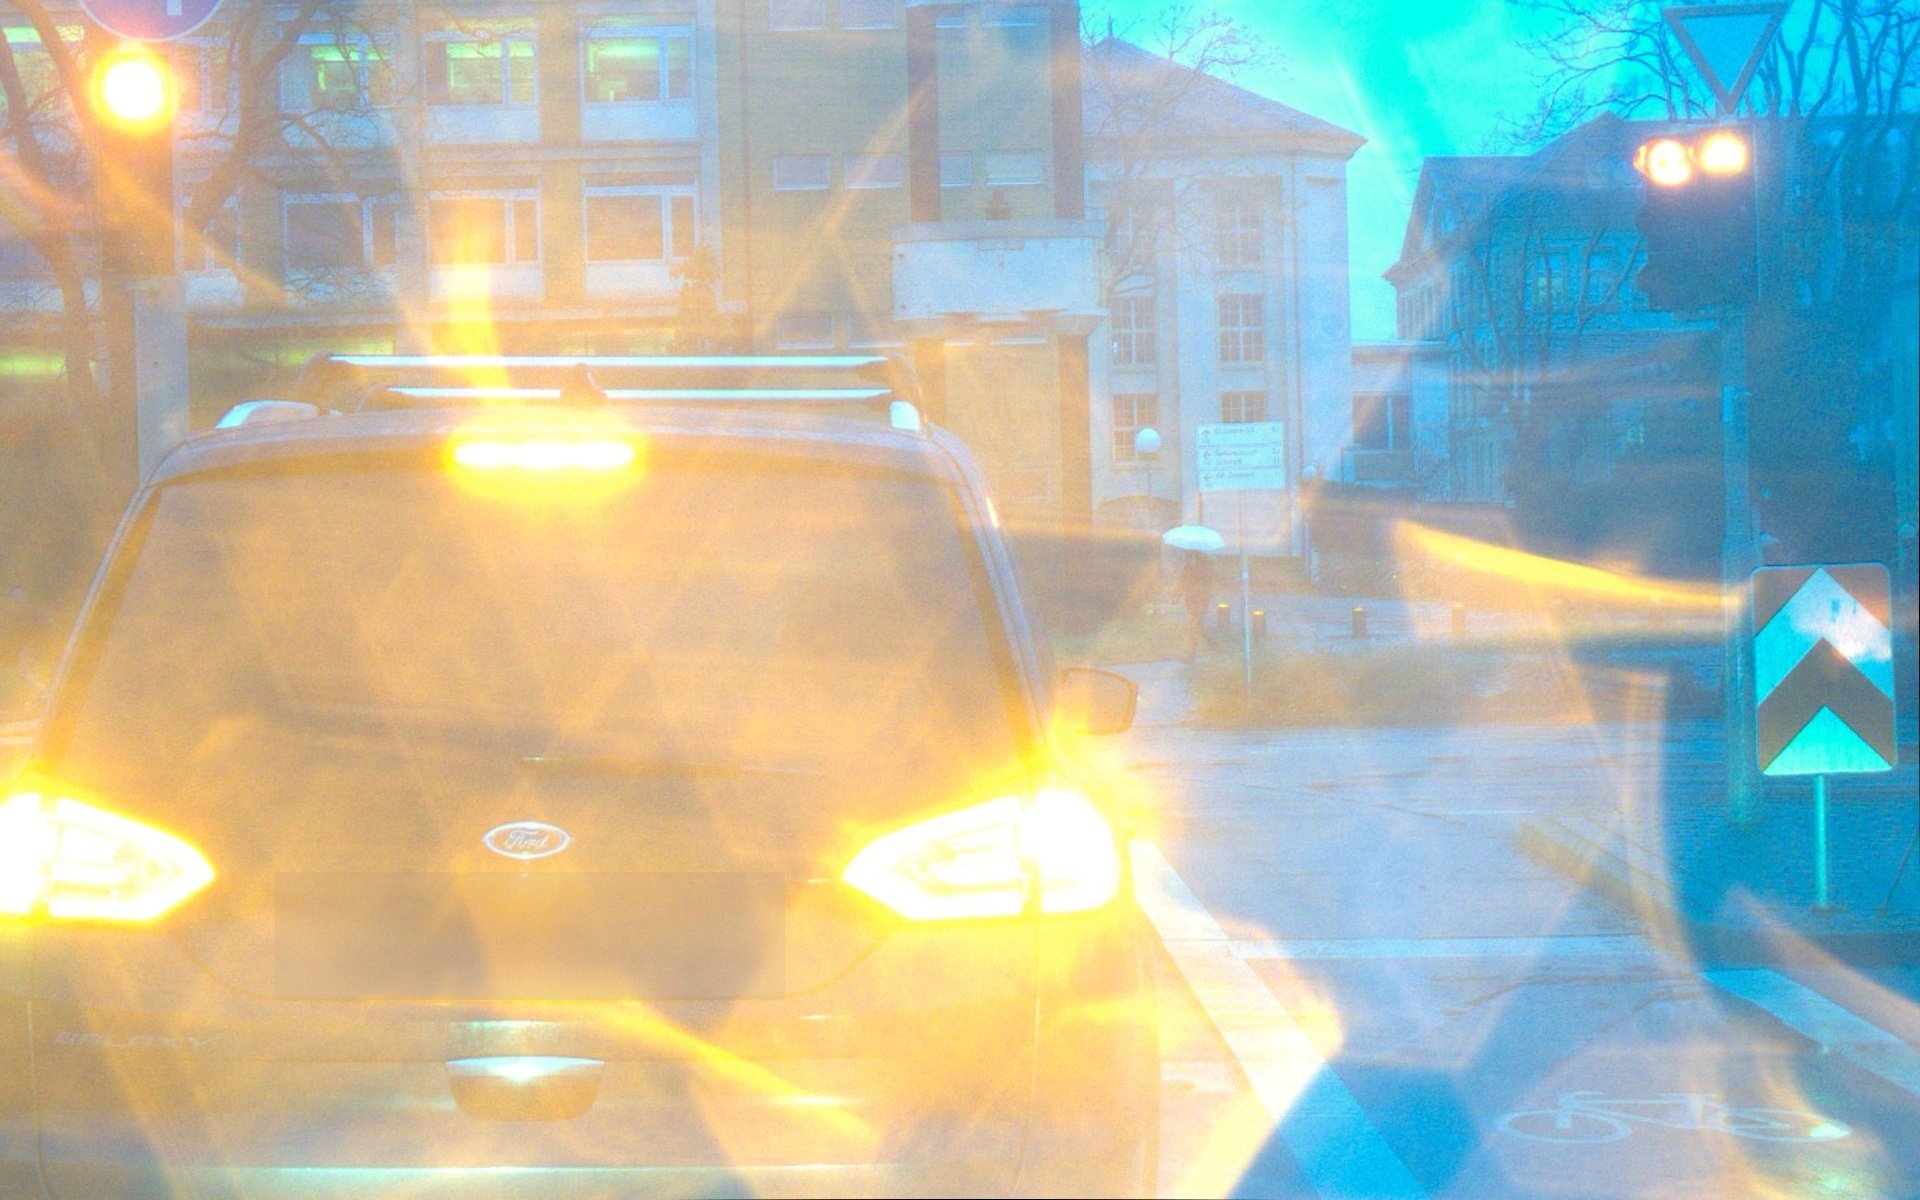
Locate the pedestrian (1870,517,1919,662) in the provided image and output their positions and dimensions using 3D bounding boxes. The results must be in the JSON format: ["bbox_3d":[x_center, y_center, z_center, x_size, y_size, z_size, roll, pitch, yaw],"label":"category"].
[{"bbox_3d":[12.060,-0.148,43.447,0.997,1.793,0.918,-2,1,17],"label":"pedestrian"}]

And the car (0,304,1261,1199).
[{"bbox_3d":[-0.632,0.489,6.562,1.993,1.783,4.000,1,1,-1],"label":"car"}]

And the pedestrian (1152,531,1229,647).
[{"bbox_3d":[3.294,-0.163,49.119,0.760,1.622,0.721,-3,2,-45],"label":"pedestrian"}]

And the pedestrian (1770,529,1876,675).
[{"bbox_3d":[10.508,0.014,41.900,1.136,1.714,0.981,-2,1,10],"label":"pedestrian"}]

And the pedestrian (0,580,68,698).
[{"bbox_3d":[-13.098,0.549,48.506,0.760,1.622,0.557,-2,1,16],"label":"pedestrian"}]
